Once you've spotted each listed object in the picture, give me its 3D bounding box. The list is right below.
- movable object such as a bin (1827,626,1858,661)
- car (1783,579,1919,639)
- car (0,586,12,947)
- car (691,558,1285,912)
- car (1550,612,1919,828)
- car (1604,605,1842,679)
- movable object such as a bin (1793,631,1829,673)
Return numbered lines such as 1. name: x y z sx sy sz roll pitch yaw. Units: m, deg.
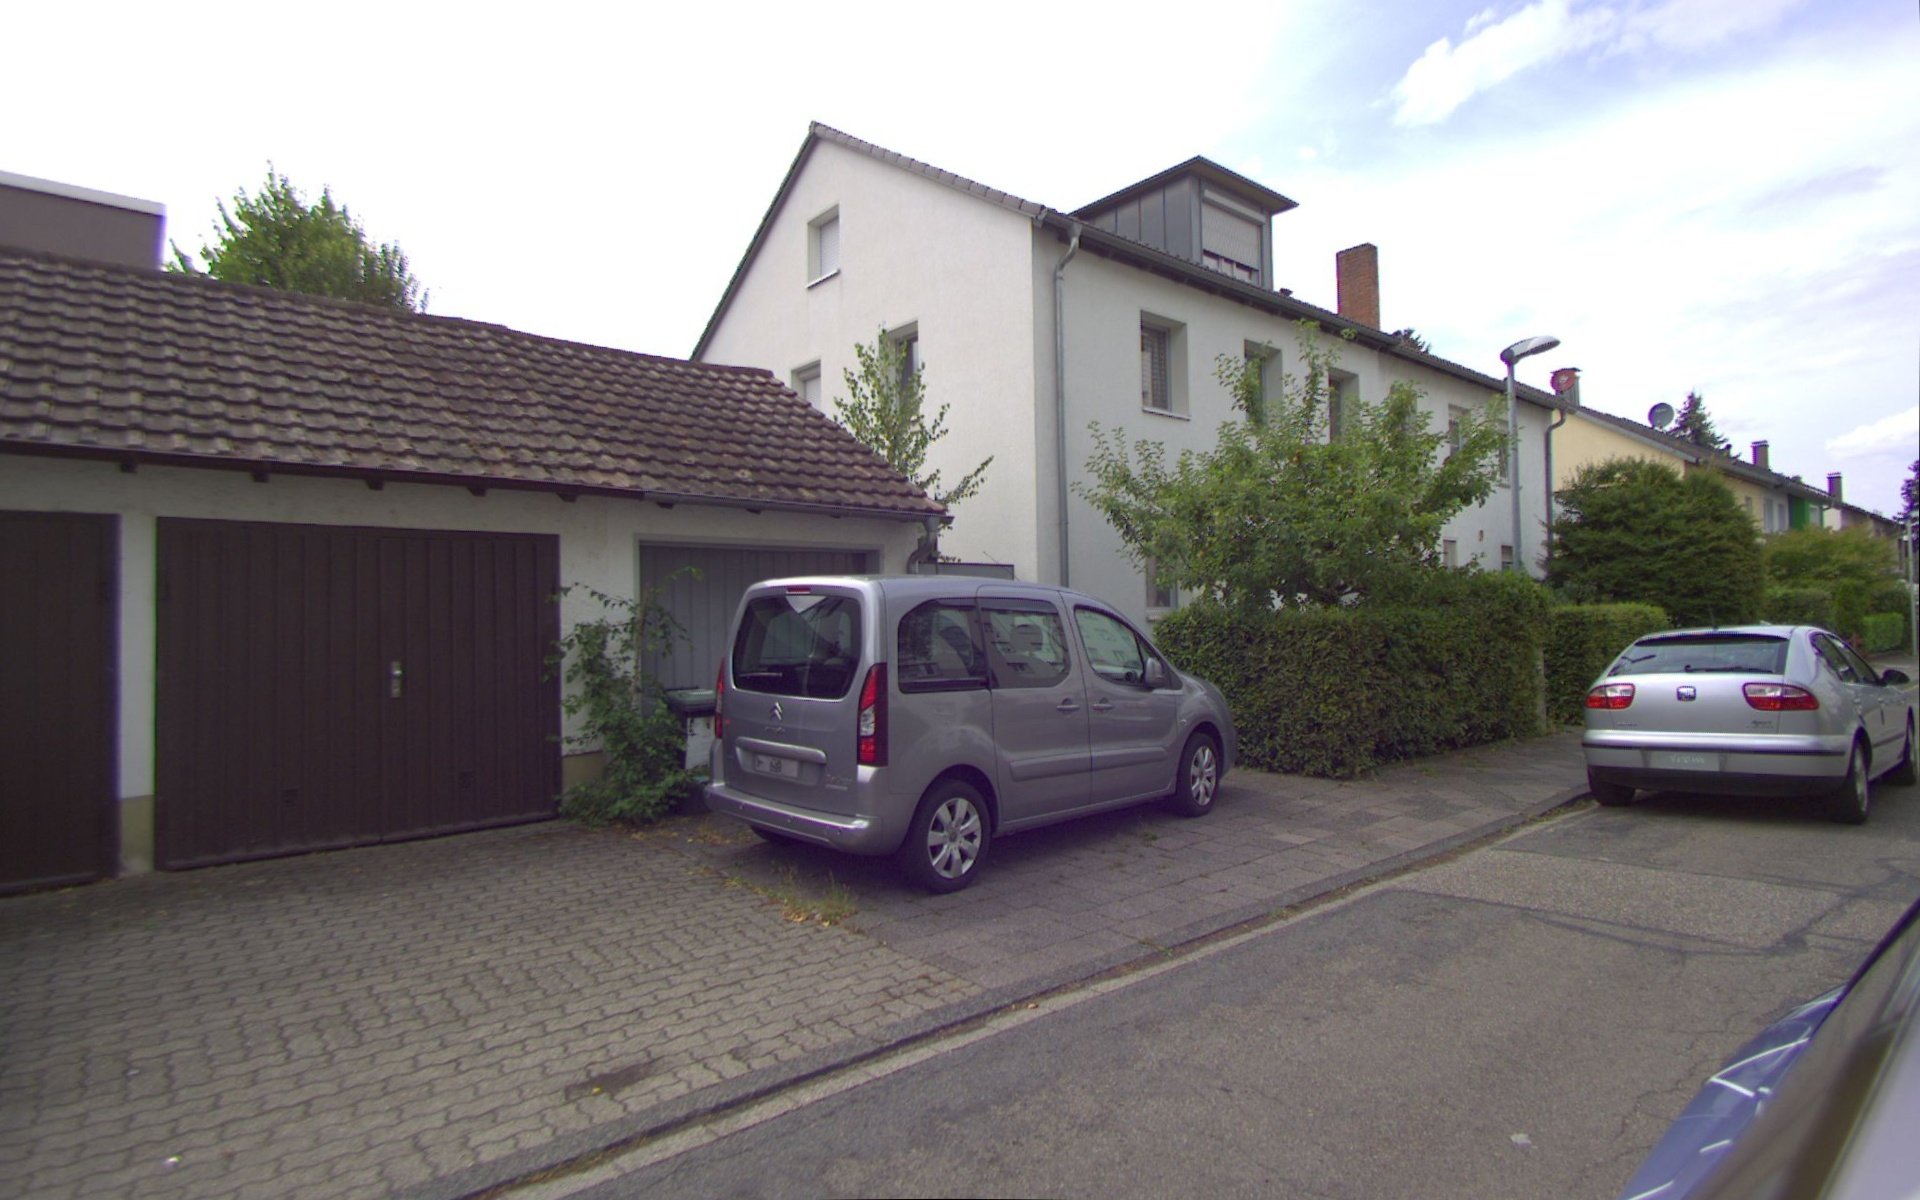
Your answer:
1. movable object such as a bin: 23.005 1.128 26.377 0.519 0.879 0.510 1 -2 -40
2. car: 40.381 0.402 45.363 2.197 2.575 5.098 1 -1 -39
3. car: -4.450 0.733 3.436 1.711 1.589 2.820 1 0 -42
4. car: 0.442 0.660 7.291 4.269 1.799 1.826 0 1 -44
5. car: 6.924 0.854 8.663 4.253 1.388 1.828 0 -4 -40
6. car: 16.742 0.858 22.330 4.021 1.445 1.823 0 0 45
7. movable object such as a bin: 19.301 1.171 22.955 0.491 0.933 0.510 1 -3 -40
